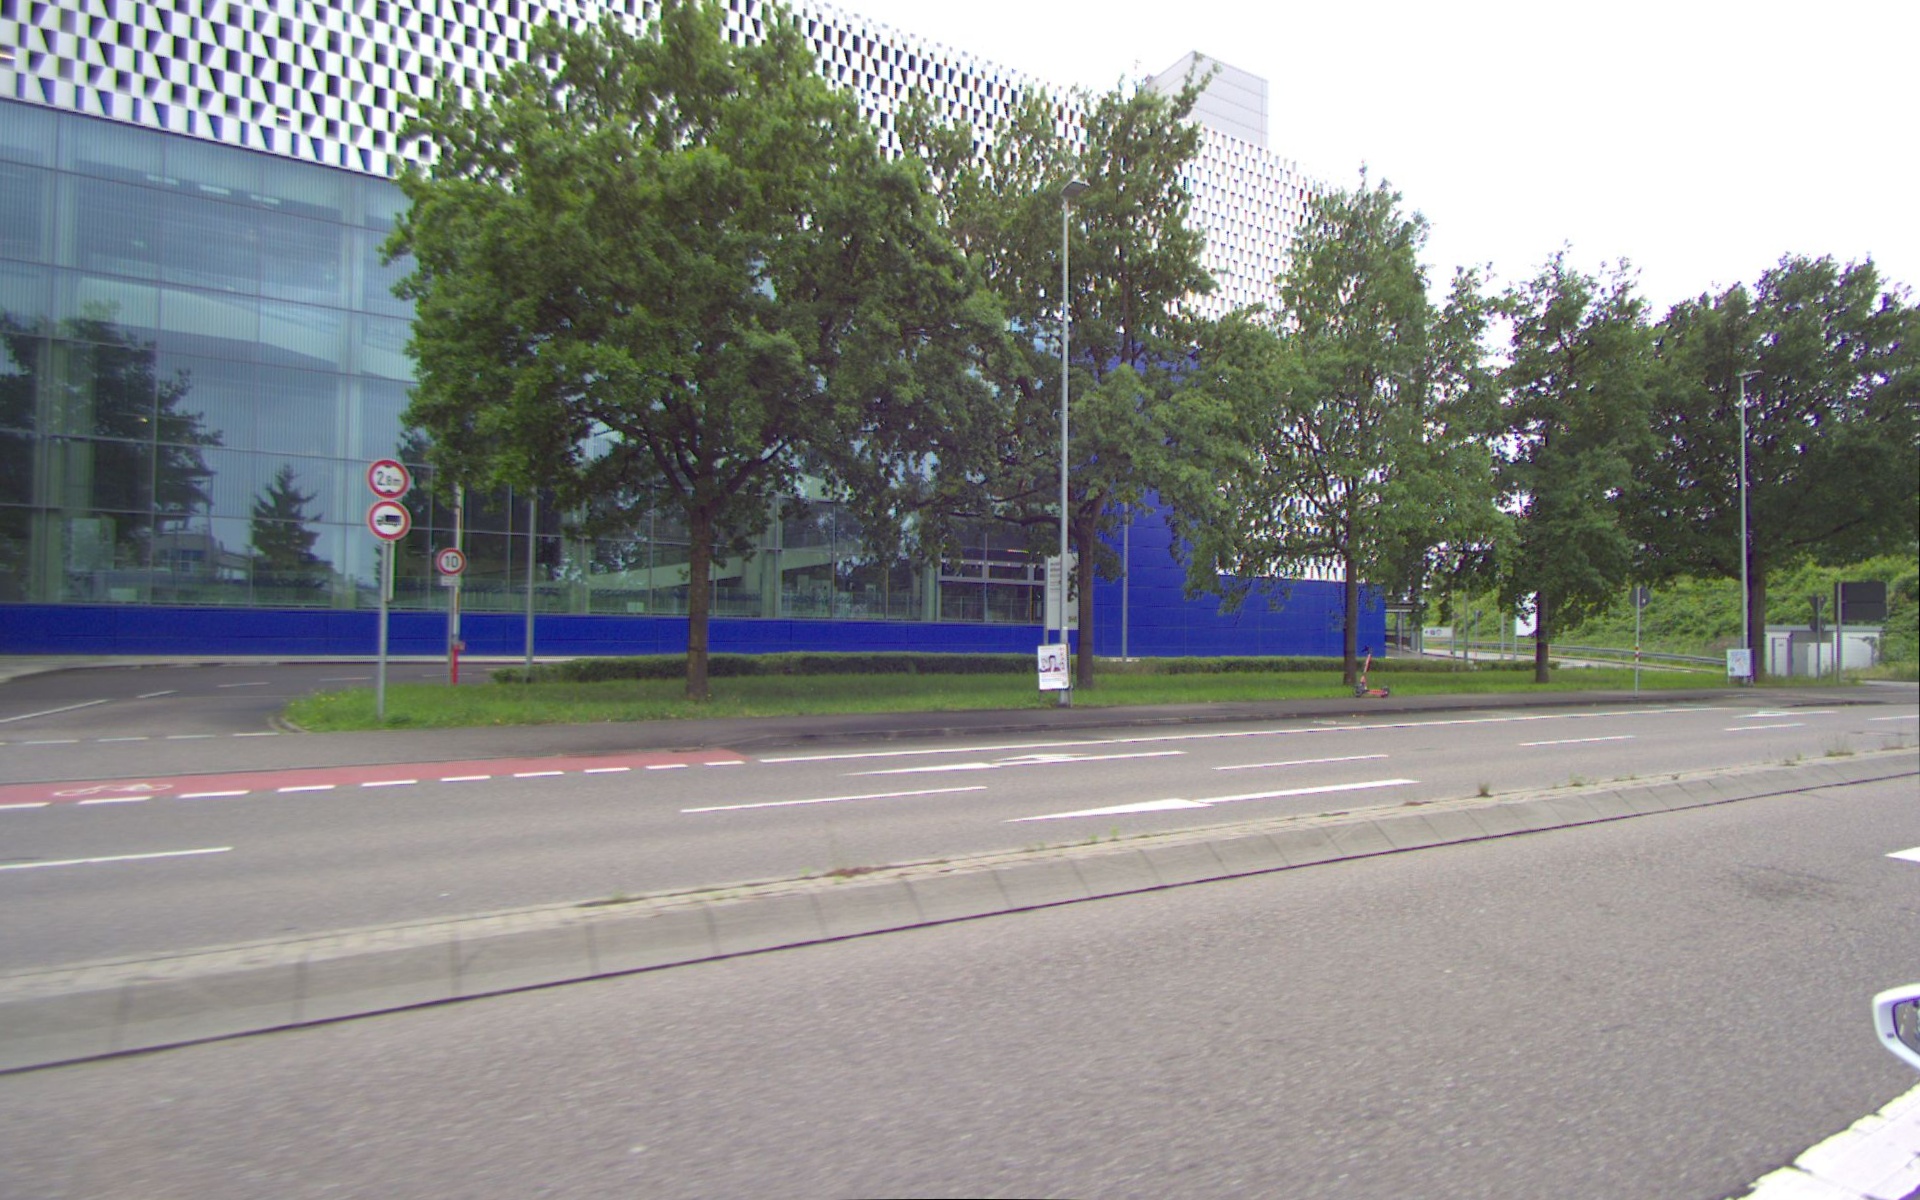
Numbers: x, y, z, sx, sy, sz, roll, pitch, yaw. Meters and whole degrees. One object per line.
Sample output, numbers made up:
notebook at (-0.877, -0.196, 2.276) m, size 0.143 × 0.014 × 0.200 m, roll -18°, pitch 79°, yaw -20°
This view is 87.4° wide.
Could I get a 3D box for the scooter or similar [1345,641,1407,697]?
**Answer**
scooter or similar at (10.108, 1.674, 24.416) m, size 1.482 × 1.339 × 0.446 m, roll 1°, pitch -2°, yaw -20°
